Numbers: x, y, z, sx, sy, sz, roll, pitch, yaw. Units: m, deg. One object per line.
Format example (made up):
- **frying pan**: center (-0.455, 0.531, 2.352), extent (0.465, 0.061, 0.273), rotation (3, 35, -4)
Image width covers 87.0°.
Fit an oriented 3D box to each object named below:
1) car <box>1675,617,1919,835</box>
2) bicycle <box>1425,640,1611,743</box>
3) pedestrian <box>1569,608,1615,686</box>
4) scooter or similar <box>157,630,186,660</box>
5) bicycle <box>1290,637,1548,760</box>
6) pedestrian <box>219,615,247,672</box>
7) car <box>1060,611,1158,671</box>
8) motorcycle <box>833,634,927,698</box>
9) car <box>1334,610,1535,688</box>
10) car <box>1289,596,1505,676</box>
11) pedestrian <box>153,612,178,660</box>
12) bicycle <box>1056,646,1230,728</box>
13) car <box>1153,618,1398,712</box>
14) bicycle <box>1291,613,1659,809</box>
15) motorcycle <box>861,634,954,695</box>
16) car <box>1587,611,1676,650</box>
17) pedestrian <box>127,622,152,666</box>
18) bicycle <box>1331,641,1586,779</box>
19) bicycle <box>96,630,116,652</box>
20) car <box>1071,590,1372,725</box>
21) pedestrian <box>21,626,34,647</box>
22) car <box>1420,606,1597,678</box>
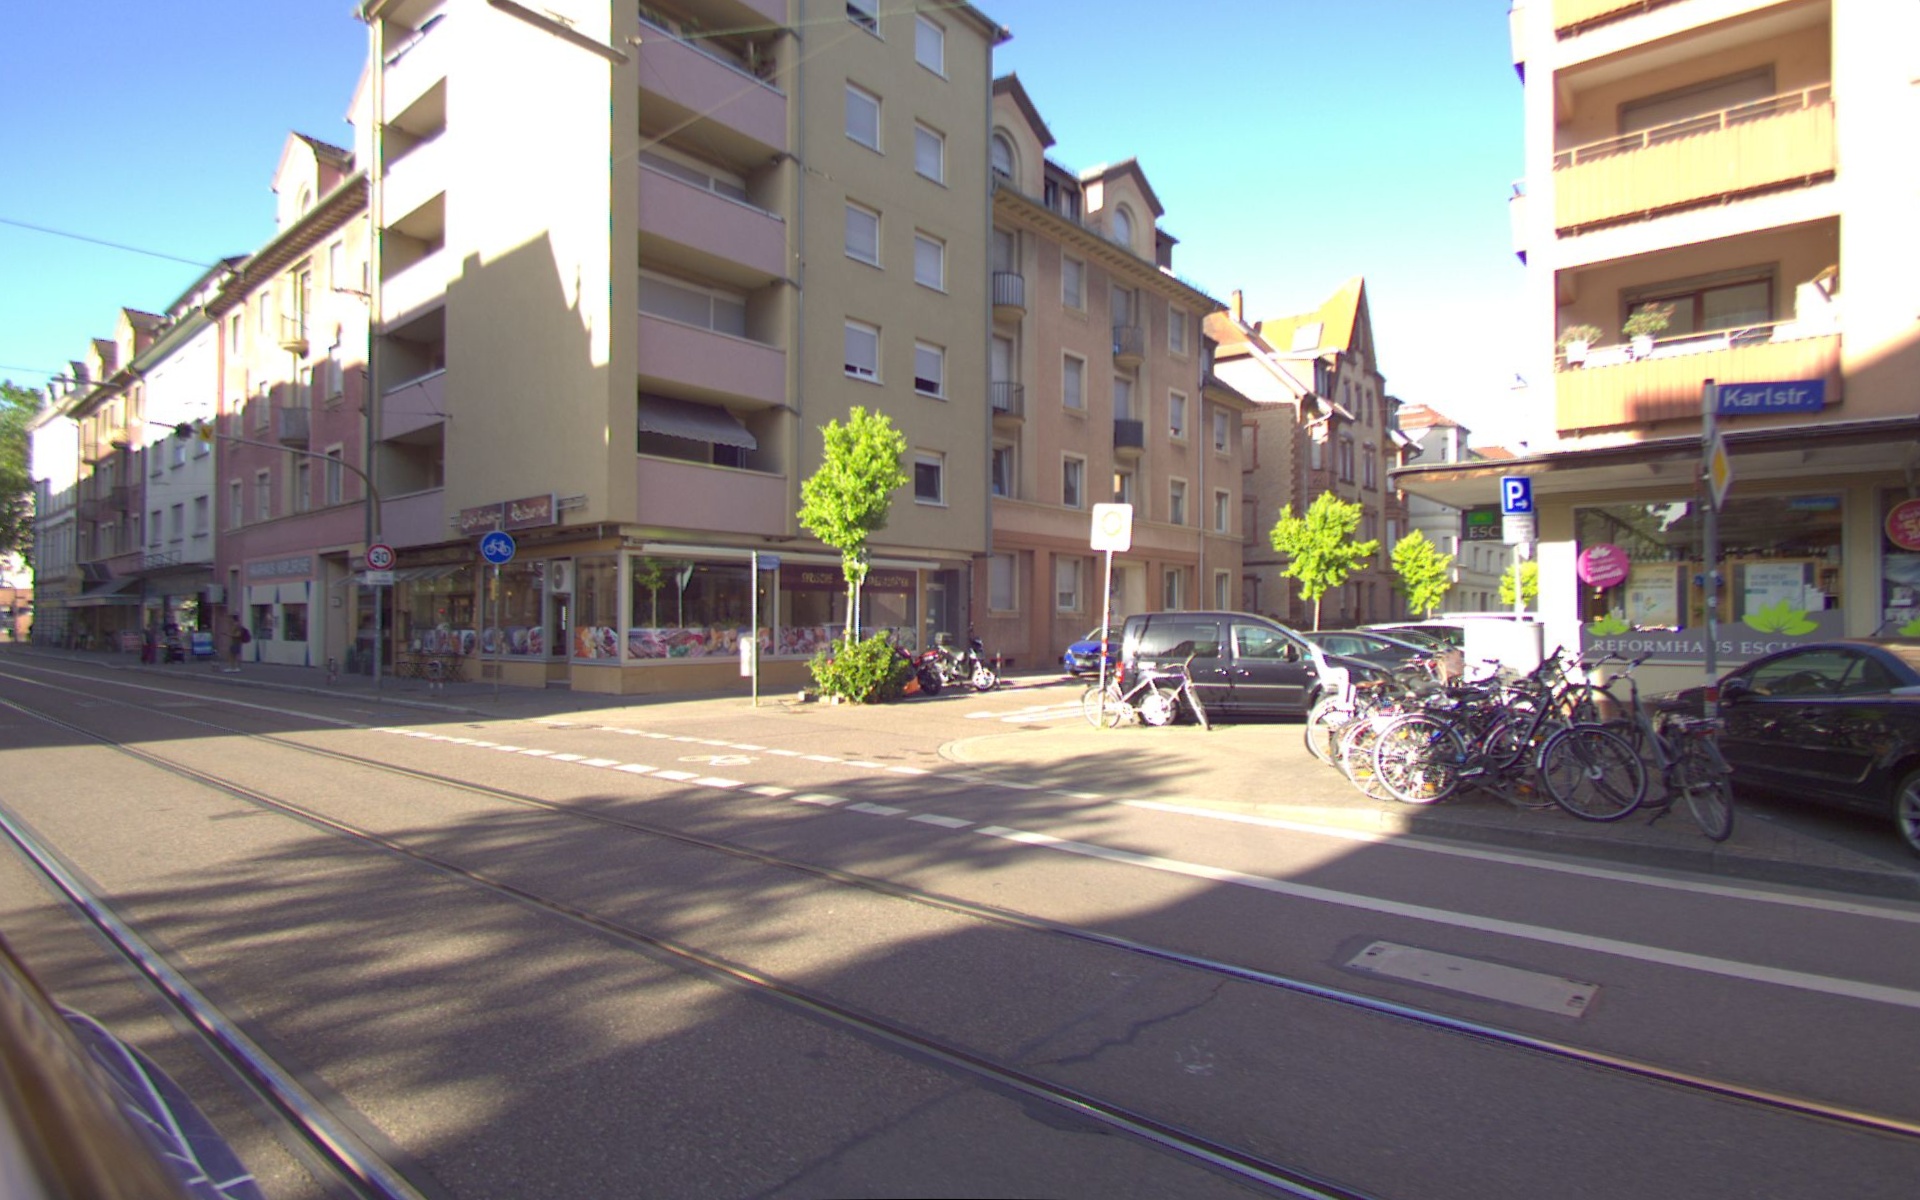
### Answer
- **car**: center (6.990, 0.819, 7.199), extent (1.605, 1.347, 3.464), rotation (-1, 0, 6)
- **bicycle**: center (6.396, 1.032, 11.687), extent (1.823, 1.118, 0.401), rotation (0, -1, 20)
- **pedestrian**: center (13.868, 1.013, 22.211), extent (0.764, 1.673, 0.490), rotation (-1, -1, 42)
- **scooter or similar**: center (-29.236, 1.657, 37.517), extent (1.104, 1.069, 0.655), rotation (-2, -1, 41)
- **bicycle**: center (4.745, 0.993, 10.517), extent (2.396, 1.118, 0.685), rotation (-2, -2, -9)
- **pedestrian**: center (-22.331, 1.326, 31.092), extent (0.616, 1.698, 0.557), rotation (-1, -1, 39)
- **car**: center (4.283, 1.099, 28.640), extent (1.785, 1.522, 3.839), rotation (-1, 0, 24)
- **motorcycle**: center (-1.684, 1.344, 21.096), extent (2.175, 1.219, 0.613), rotation (-1, -1, 41)
- **car**: center (11.395, 1.167, 24.522), extent (3.951, 1.568, 1.688), rotation (-4, -1, 6)
- **car**: center (9.549, 0.793, 22.372), extent (3.951, 1.469, 1.688), rotation (-4, -1, 6)
- **pedestrian**: center (-30.162, 1.348, 38.413), extent (0.820, 1.803, 0.619), rotation (-1, -1, 40)
- **bicycle**: center (2.659, 1.276, 14.938), extent (2.429, 1.118, 0.676), rotation (-4, -2, 35)
- **car**: center (5.599, 1.158, 18.467), extent (3.957, 1.403, 1.843), rotation (-4, -1, 11)
- **bicycle**: center (3.933, 0.820, 7.901), extent (2.431, 1.330, 0.675), rotation (-4, -3, 37)
- **motorcycle**: center (-1.148, 1.355, 21.668), extent (2.175, 1.219, 0.613), rotation (-1, -1, 41)
- **car**: center (35.424, 1.619, 53.459), extent (3.527, 1.999, 1.503), rotation (-1, 0, 10)
- **pedestrian**: center (-30.245, 1.610, 37.315), extent (0.623, 1.560, 0.629), rotation (-1, -1, 40)
- **bicycle**: center (4.402, 0.974, 9.068), extent (1.867, 1.132, 0.681), rotation (-3, -2, 10)
- **bicycle**: center (-43.410, 2.097, 51.428), extent (2.328, 1.068, 0.420), rotation (-1, -1, 41)
- **car**: center (4.135, 0.969, 16.149), extent (4.324, 1.831, 1.837), rotation (-4, -5, 20)
- **pedestrian**: center (-84.103, 3.262, 91.252), extent (0.809, 1.861, 0.784), rotation (-1, -1, 44)
- **car**: center (15.511, 1.180, 28.802), extent (3.951, 1.727, 1.688), rotation (-4, -1, 6)
